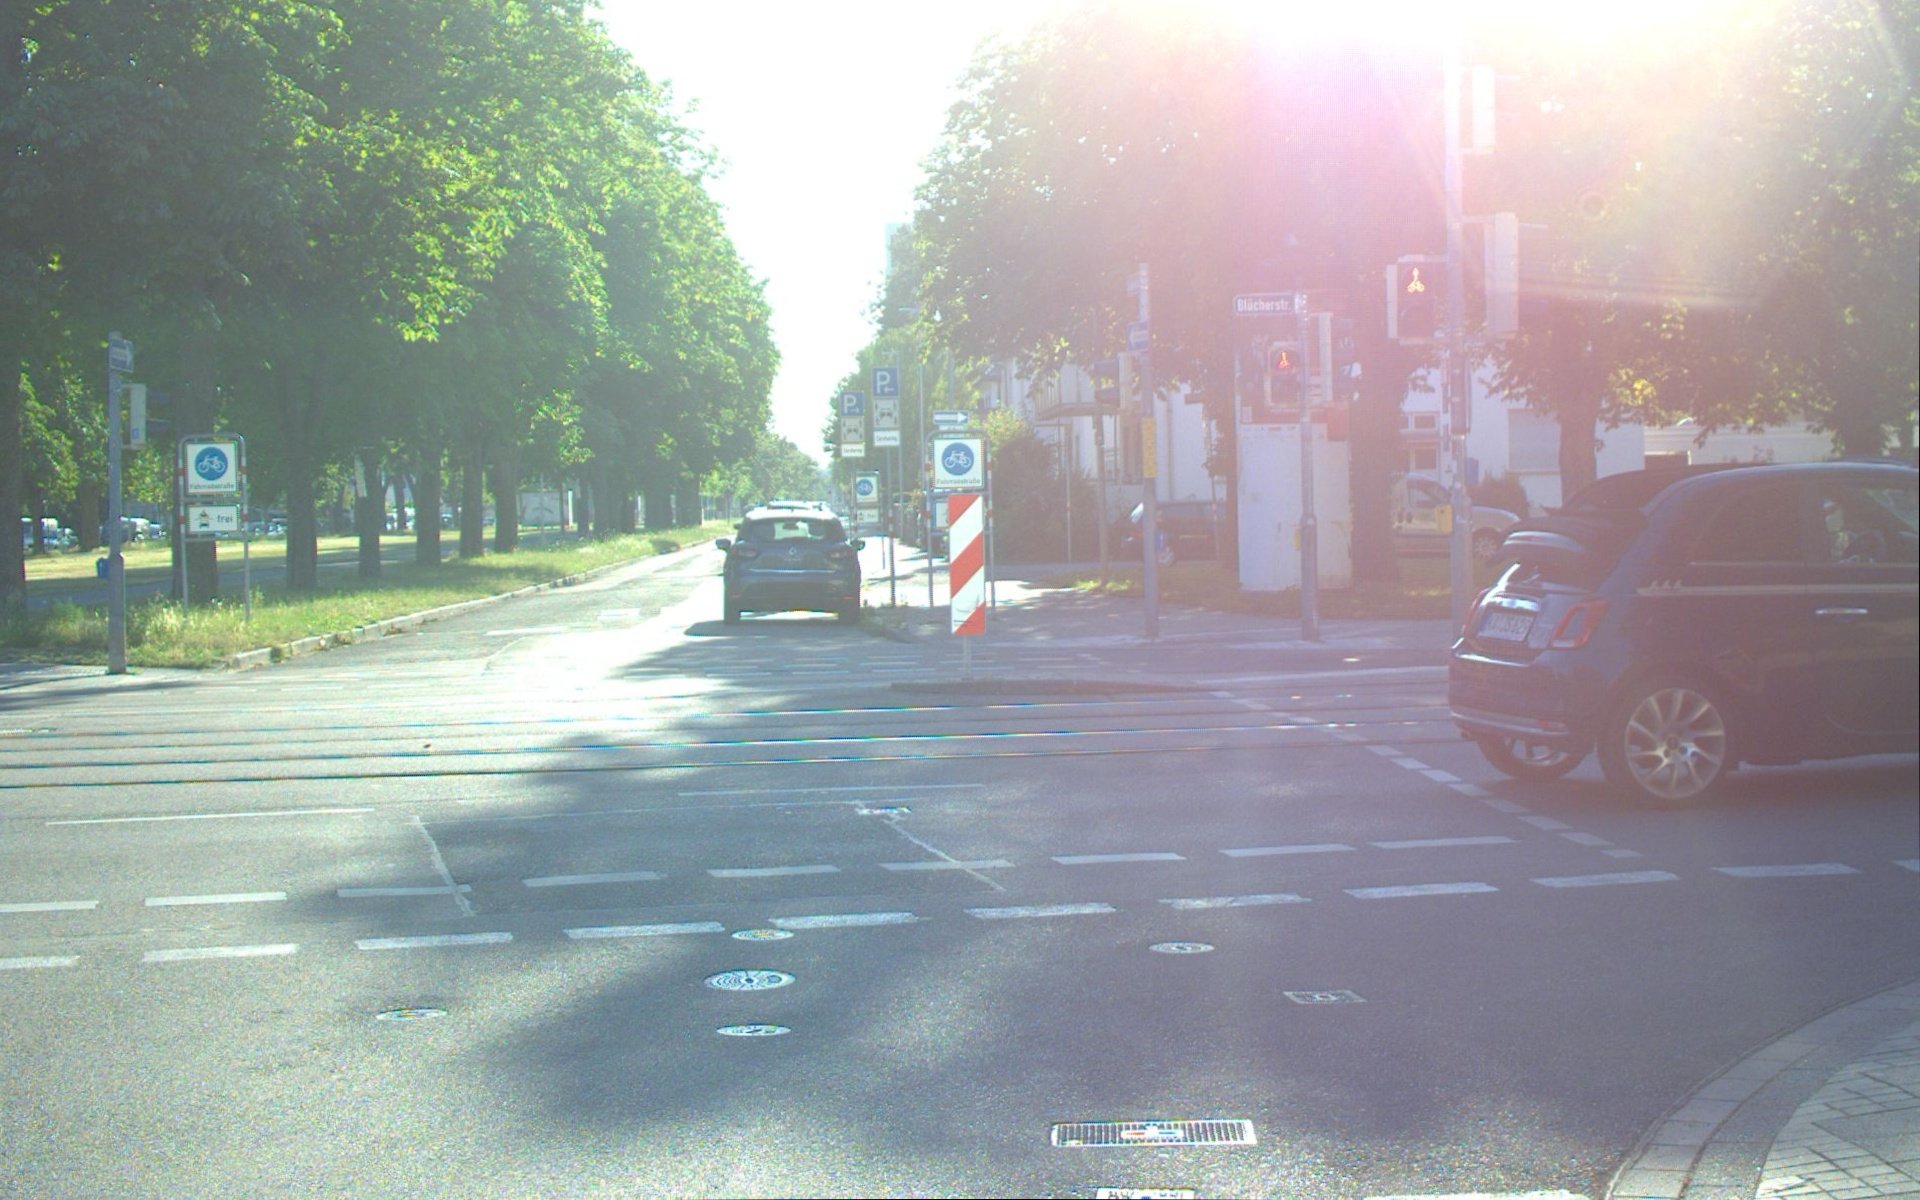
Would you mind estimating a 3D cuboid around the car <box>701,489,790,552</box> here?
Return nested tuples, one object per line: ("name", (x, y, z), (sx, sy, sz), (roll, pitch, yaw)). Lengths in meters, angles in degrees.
("car", (-4.846, -1.825, 78.012), (1.845, 1.389, 3.829), (-1, 2, -1))

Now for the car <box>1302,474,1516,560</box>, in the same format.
("car", (8.513, -1.581, 65.349), (3.779, 1.520, 1.744), (-1, 3, -2))

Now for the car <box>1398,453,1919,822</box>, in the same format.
("car", (3.999, 0.094, 15.702), (3.595, 1.492, 1.613), (-2, 2, -13))

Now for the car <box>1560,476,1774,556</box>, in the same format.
("car", (13.417, -1.598, 65.295), (3.662, 1.422, 1.532), (-1, 2, -6))

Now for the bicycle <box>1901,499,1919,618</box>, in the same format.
("bicycle", (10.080, -0.421, 32.897), (1.954, 1.128, 0.620), (-1, 1, 1))

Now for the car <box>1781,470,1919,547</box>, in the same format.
("car", (17.918, -1.775, 66.067), (3.844, 1.422, 1.598), (-1, 2, -6))

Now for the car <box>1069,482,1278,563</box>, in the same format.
("car", (4.006, -1.473, 65.024), (3.779, 1.422, 1.744), (-1, 3, -2))

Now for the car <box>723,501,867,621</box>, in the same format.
("car", (-2.071, -0.526, 43.923), (1.641, 1.446, 3.307), (-1, 2, 0))
